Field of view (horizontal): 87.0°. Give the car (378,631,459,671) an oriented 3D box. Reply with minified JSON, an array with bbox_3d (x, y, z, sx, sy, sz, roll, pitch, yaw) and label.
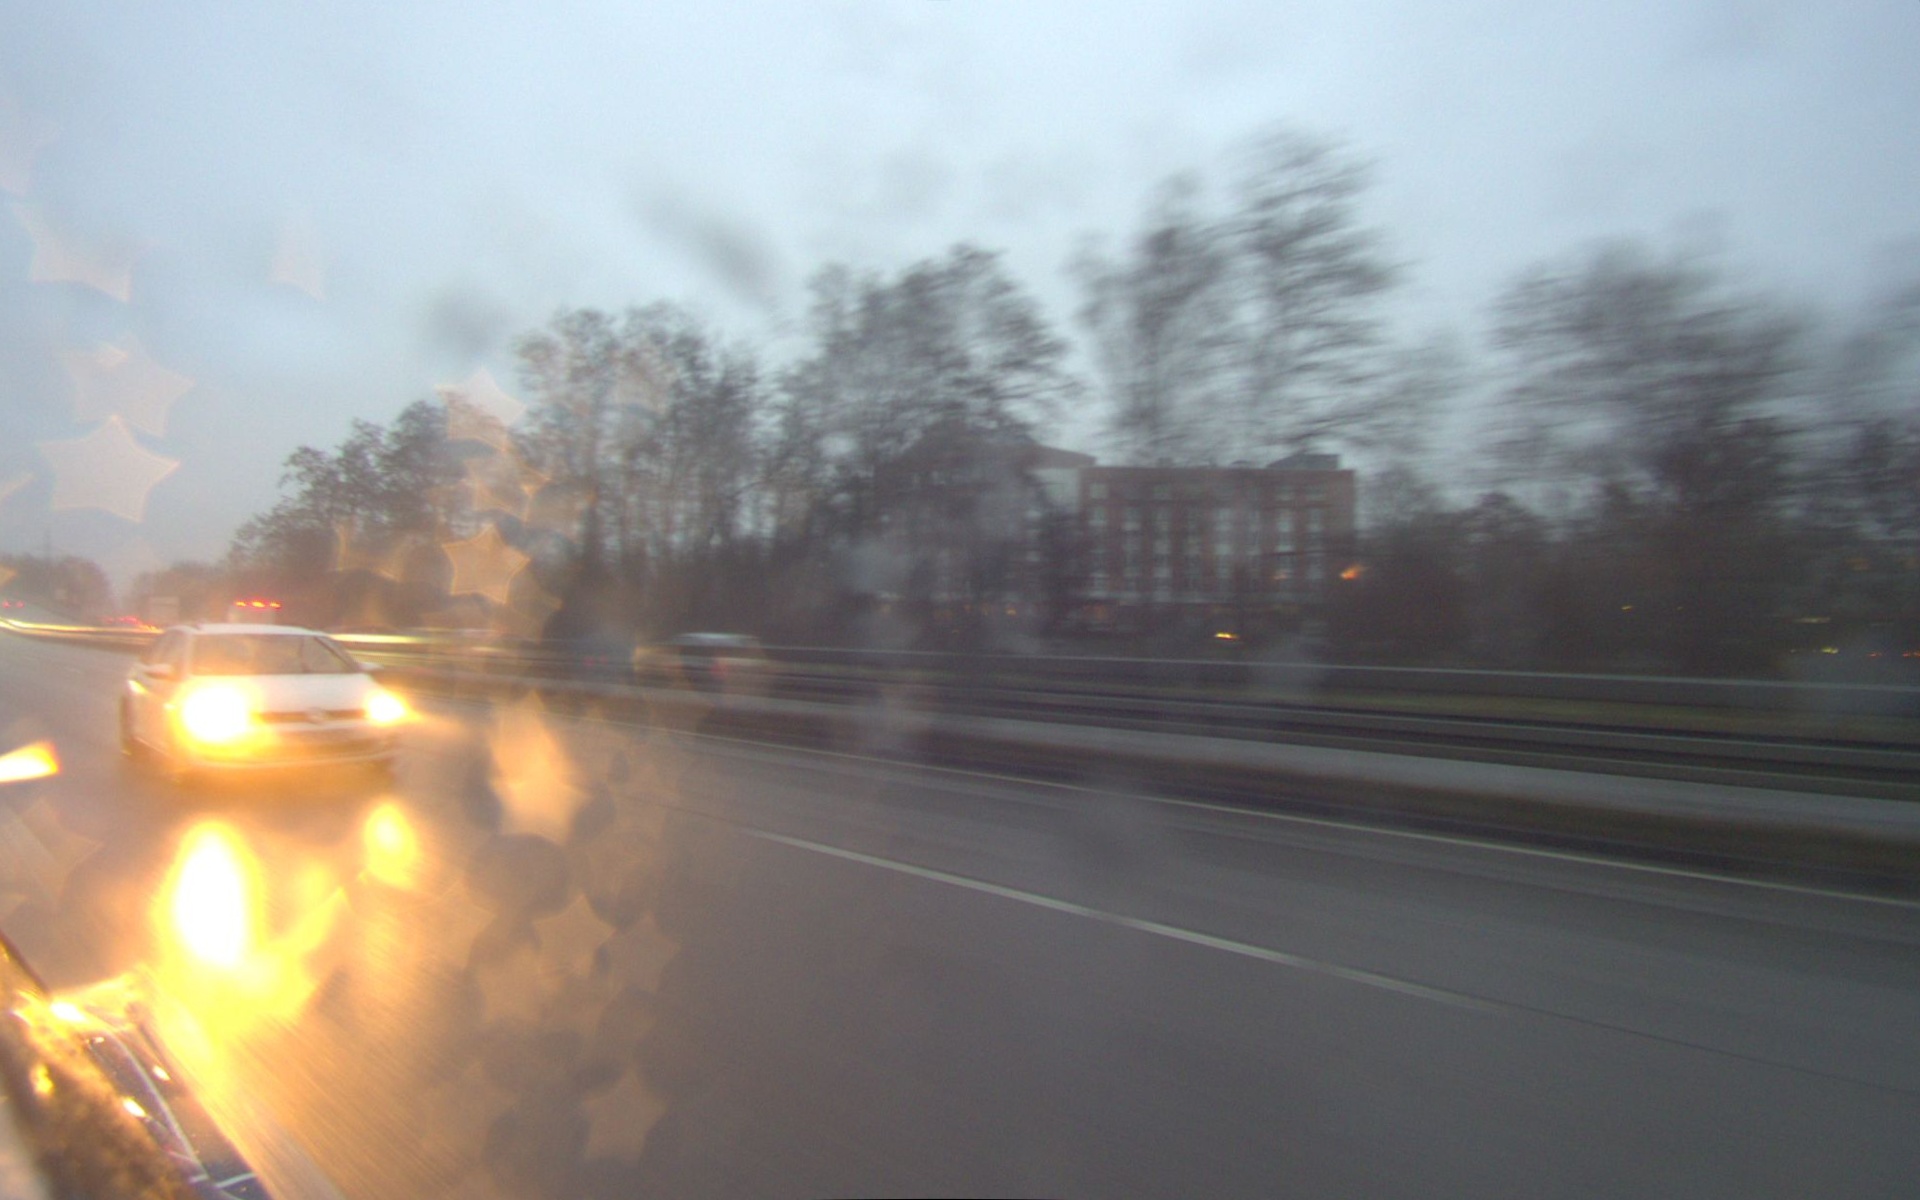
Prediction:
[{"bbox_3d":[-22.023,2.029,41.098,4.361,1.454,1.529,-1,0,42],"label":"car"}]

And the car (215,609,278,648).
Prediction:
[{"bbox_3d":[-53.701,2.089,76.104,6.338,2.751,2.501,-1,0,42],"label":"car"}]

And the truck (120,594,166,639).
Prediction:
[{"bbox_3d":[-91.623,1.804,113.410,3.449,4.884,6.036,-1,0,-44],"label":"truck"}]

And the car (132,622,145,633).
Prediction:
[{"bbox_3d":[-118.589,3.939,146.066,1.440,1.576,3.657,0,0,-40],"label":"car"}]

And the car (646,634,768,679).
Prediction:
[{"bbox_3d":[-8.397,1.803,33.353,4.685,1.281,1.529,-1,0,42],"label":"car"}]

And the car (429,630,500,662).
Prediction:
[{"bbox_3d":[-23.408,2.149,47.784,4.256,1.331,1.529,-1,0,42],"label":"car"}]

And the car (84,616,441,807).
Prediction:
[{"bbox_3d":[-7.354,0.966,10.457,4.785,1.532,1.927,-1,-3,42],"label":"car"}]

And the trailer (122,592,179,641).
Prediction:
[{"bbox_3d":[-86.632,1.721,108.196,3.449,4.884,13.490,-1,0,-44],"label":"trailer"}]

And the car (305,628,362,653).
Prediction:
[{"bbox_3d":[-37.265,2.390,60.172,4.472,1.331,1.692,-1,0,42],"label":"car"}]
